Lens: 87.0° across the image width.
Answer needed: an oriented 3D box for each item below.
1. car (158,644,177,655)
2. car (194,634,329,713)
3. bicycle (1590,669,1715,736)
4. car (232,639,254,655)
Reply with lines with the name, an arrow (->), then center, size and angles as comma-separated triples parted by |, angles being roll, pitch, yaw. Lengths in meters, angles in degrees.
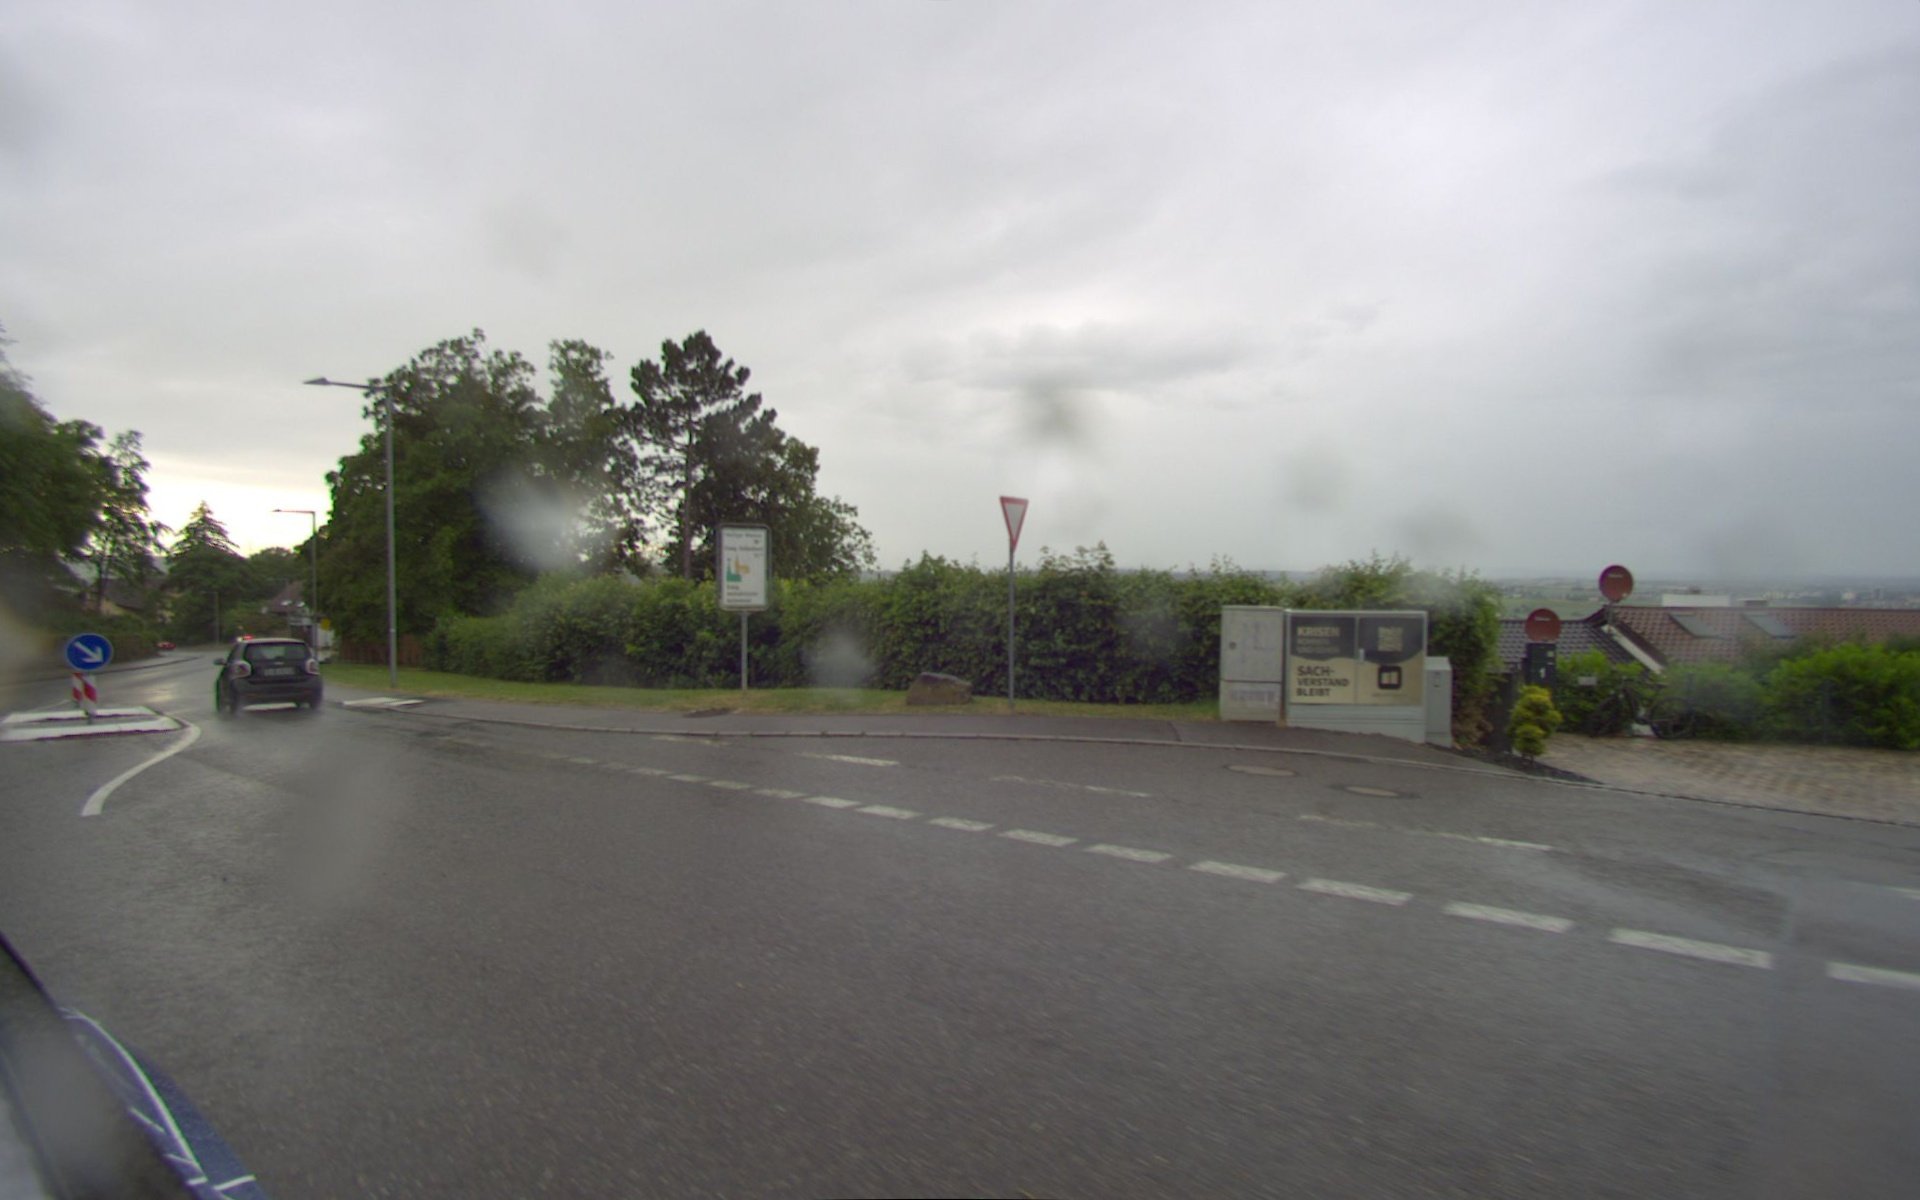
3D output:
car -> -114.852, 7.158, 146.697 | 1.812, 1.523, 4.174 | -1, -1, -42
car -> -15.591, 1.536, 22.477 | 1.810, 1.532, 4.631 | 0, -2, -43
bicycle -> 11.222, 1.658, 16.433 | 1.649, 0.972, 0.429 | 2, -1, 6
car -> -80.325, 5.219, 113.295 | 1.893, 1.660, 4.556 | 0, -1, -37
